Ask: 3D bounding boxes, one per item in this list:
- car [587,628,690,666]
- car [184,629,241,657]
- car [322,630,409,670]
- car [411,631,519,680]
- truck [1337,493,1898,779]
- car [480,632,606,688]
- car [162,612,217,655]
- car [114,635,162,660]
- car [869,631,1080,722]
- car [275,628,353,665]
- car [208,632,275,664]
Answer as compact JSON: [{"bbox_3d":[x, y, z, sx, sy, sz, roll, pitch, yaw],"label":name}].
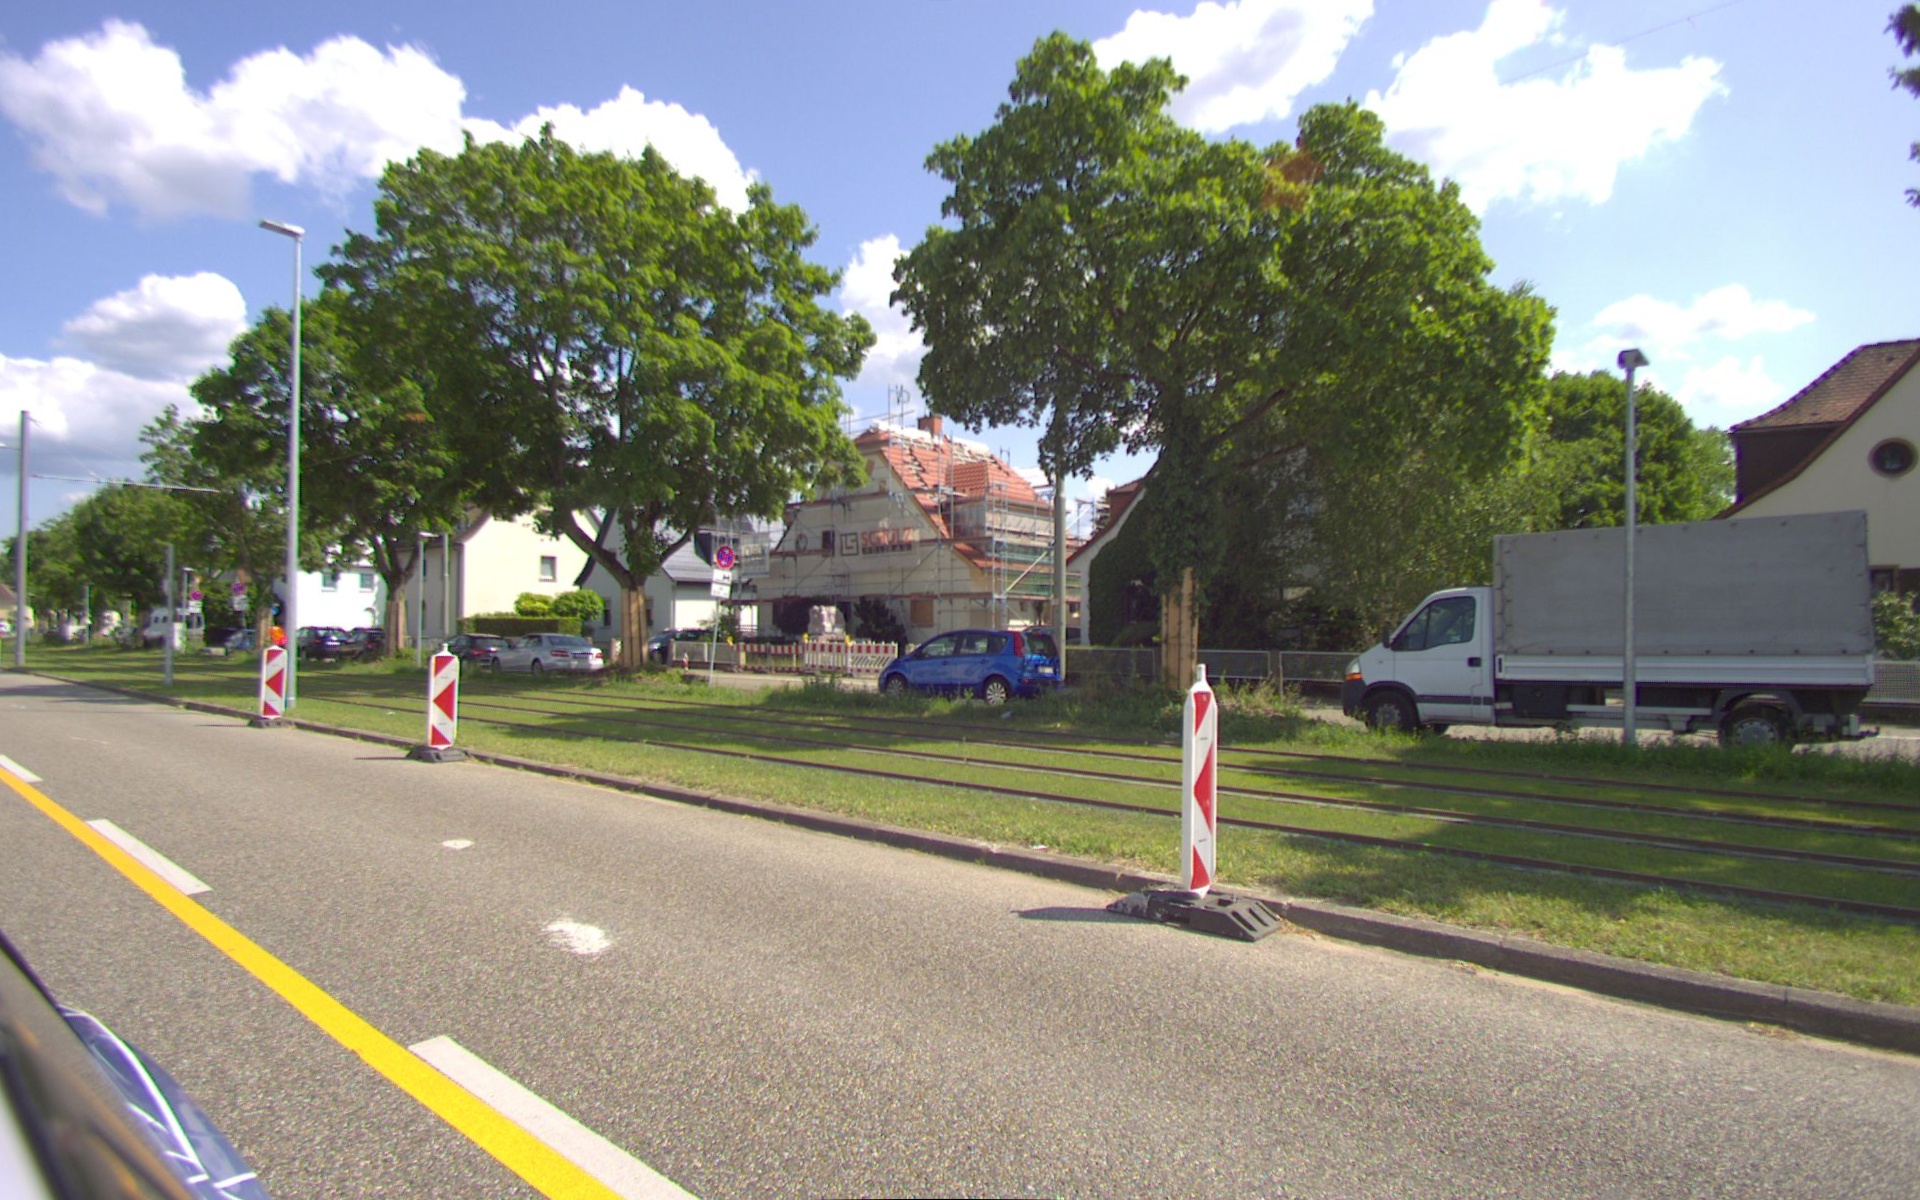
[{"bbox_3d":[-14.078,2.049,44.510,1.756,1.623,3.995,-2,-3,41],"label":"car"},{"bbox_3d":[-44.642,2.553,60.406,4.603,1.623,1.733,-2,-3,40],"label":"car"},{"bbox_3d":[-25.179,2.075,42.830,4.603,1.623,1.733,-2,-3,40],"label":"car"},{"bbox_3d":[-17.610,1.917,35.934,4.603,1.623,1.733,-2,-3,40],"label":"car"},{"bbox_3d":[8.279,0.468,13.359,5.871,3.010,1.982,-2,-3,41],"label":"truck"},{"bbox_3d":[-13.169,1.832,31.863,4.603,1.623,1.733,-2,-3,40],"label":"car"},{"bbox_3d":[-48.791,2.106,64.067,4.603,2.636,1.733,-2,-3,40],"label":"car"},{"bbox_3d":[-57.019,3.268,70.152,4.603,1.623,1.733,-2,-3,40],"label":"car"},{"bbox_3d":[0.224,1.446,20.198,4.047,1.623,1.733,-2,-3,40],"label":"car"},{"bbox_3d":[-29.598,2.099,46.333,4.603,1.623,1.733,-2,-3,40],"label":"car"},{"bbox_3d":[-37.641,2.469,52.982,4.603,1.623,1.733,-2,-3,40],"label":"car"}]
